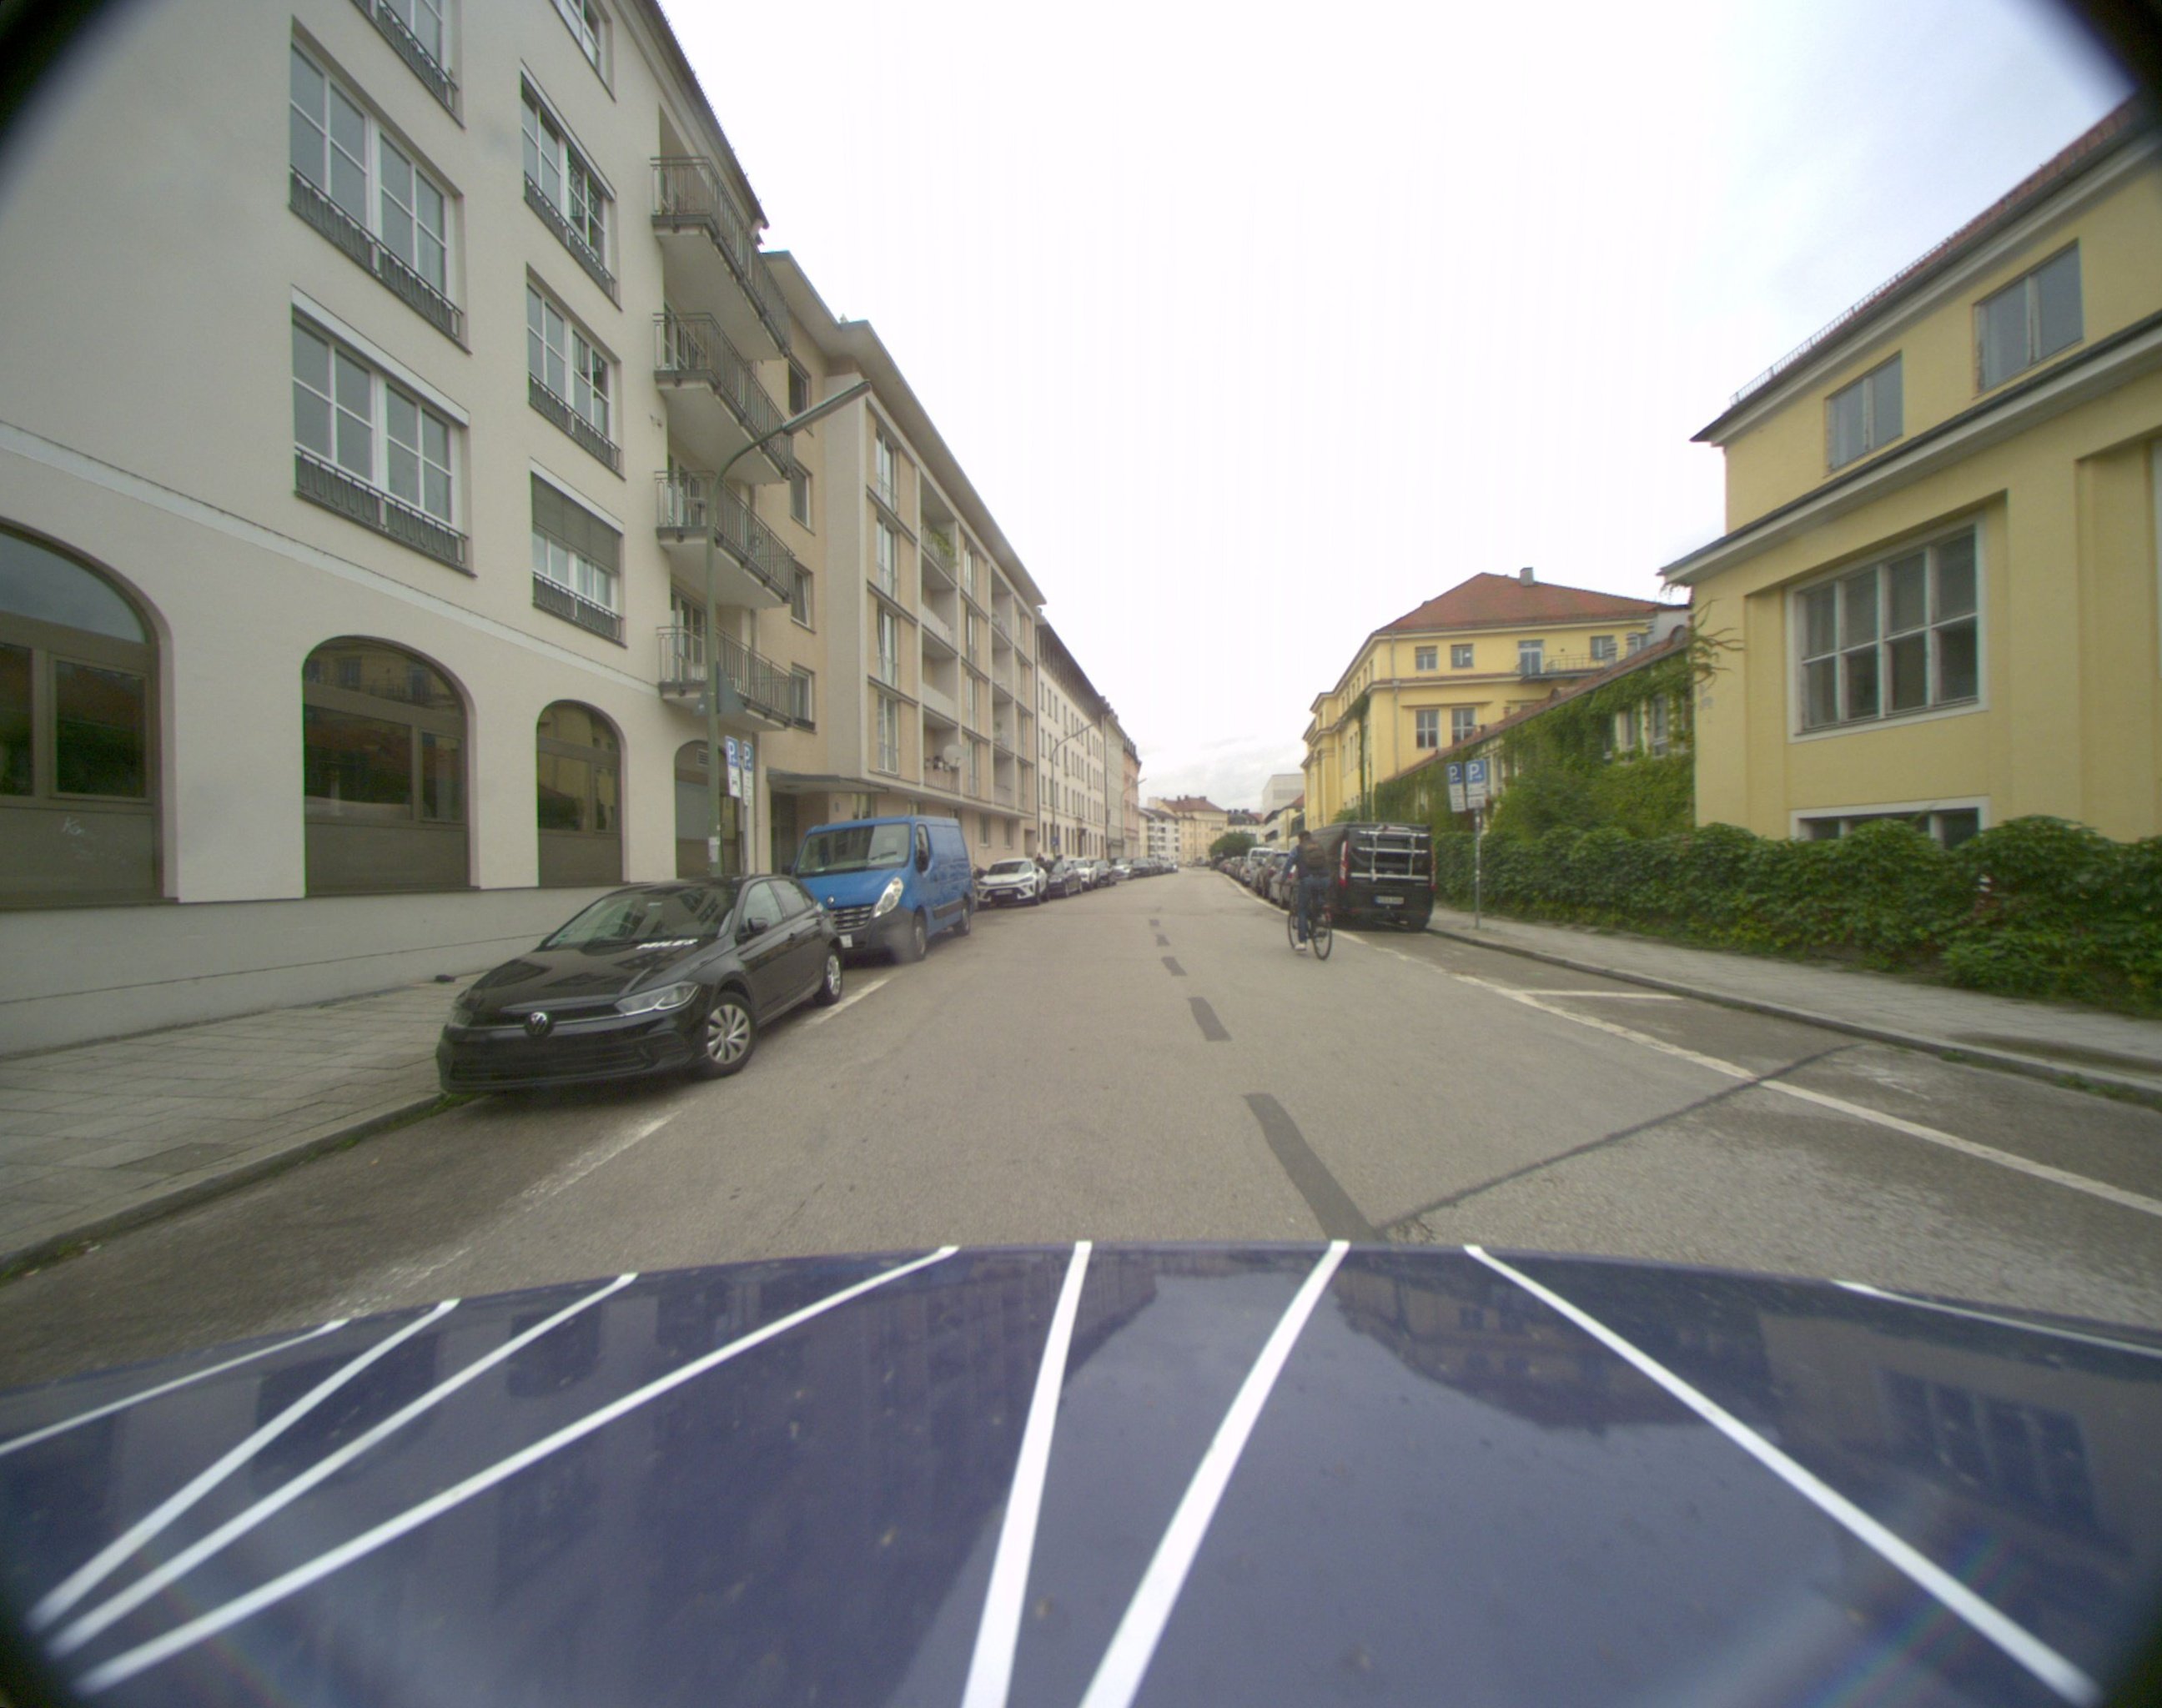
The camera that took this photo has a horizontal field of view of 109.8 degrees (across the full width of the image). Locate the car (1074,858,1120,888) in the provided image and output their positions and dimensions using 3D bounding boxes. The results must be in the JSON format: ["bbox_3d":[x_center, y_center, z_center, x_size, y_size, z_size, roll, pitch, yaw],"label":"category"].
[{"bbox_3d":[0.925,0.922,39.419,1.748,1.380,4.957,-3,-1,8],"label":"car"}]

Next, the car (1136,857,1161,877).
[{"bbox_3d":[5.829,1.065,65.340,1.648,1.580,4.638,-4,-1,10],"label":"car"}]

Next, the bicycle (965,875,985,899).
[{"bbox_3d":[-4.259,1.322,30.531,0.378,0.899,1.393,0,0,11],"label":"bicycle"}]

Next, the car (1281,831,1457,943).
[{"bbox_3d":[5.834,0.584,16.240,2.077,1.952,5.351,1,0,5],"label":"car"}]

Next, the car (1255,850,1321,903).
[{"bbox_3d":[7.139,0.726,26.594,1.700,1.633,4.493,2,0,9],"label":"car"}]

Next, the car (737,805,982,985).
[{"bbox_3d":[-3.290,0.522,12.726,2.084,2.220,5.245,-5,0,4],"label":"car"}]

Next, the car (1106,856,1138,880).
[{"bbox_3d":[2.719,0.906,50.075,1.653,1.486,2.883,-4,-1,10],"label":"car"}]

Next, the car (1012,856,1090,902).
[{"bbox_3d":[-1.041,0.920,29.628,1.883,1.513,5.168,-4,-1,10],"label":"car"}]

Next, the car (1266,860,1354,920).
[{"bbox_3d":[6.334,0.929,21.472,1.697,1.385,4.504,4,0,9],"label":"car"}]

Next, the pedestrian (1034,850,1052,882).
[{"bbox_3d":[-2.094,0.654,42.157,0.724,1.753,0.905,-1,3,11],"label":"pedestrian"}]

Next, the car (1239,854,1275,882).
[{"bbox_3d":[9.740,0.749,42.370,1.594,1.433,4.021,2,0,8],"label":"car"}]

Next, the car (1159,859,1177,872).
[{"bbox_3d":[10.319,1.339,90.002,1.690,1.393,4.368,-1,0,11],"label":"car"}]

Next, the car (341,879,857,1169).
[{"bbox_3d":[-3.379,1.042,6.501,1.681,1.381,4.304,-5,0,-2],"label":"car"}]

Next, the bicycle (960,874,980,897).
[{"bbox_3d":[-4.636,1.293,31.710,0.378,0.899,1.393,-1,0,11],"label":"bicycle"}]

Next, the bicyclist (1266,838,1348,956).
[{"bbox_3d":[3.213,0.584,10.877,0.865,1.598,0.947,-1,1,0],"label":"bicyclist"}]

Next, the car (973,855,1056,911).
[{"bbox_3d":[-2.017,0.859,24.382,1.789,1.524,4.650,-4,-1,4],"label":"car"}]

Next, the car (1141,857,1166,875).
[{"bbox_3d":[6.729,1.103,70.129,1.843,1.513,4.713,-2,-1,11],"label":"car"}]

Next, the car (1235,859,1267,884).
[{"bbox_3d":[10.585,1.053,47.562,1.606,1.422,4.254,2,0,9],"label":"car"}]

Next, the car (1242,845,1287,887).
[{"bbox_3d":[8.852,0.544,36.980,1.890,1.878,4.778,2,0,11],"label":"car"}]

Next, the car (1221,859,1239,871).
[{"bbox_3d":[19.383,1.451,98.996,1.961,1.473,4.532,2,0,7],"label":"car"}]

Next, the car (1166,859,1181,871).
[{"bbox_3d":[12.838,1.504,105.616,1.685,1.663,3.805,-2,-1,2],"label":"car"}]

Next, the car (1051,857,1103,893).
[{"bbox_3d":[-0.107,0.905,34.578,1.697,1.480,4.583,-3,-1,8],"label":"car"}]

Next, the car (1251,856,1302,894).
[{"bbox_3d":[8.015,0.817,31.495,1.656,1.406,4.775,2,0,10],"label":"car"}]

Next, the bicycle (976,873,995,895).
[{"bbox_3d":[-4.152,1.303,33.049,0.378,0.899,1.393,-1,0,11],"label":"bicycle"}]

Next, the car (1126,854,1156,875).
[{"bbox_3d":[4.802,0.798,60.180,1.806,1.475,5.324,-4,-1,9],"label":"car"}]

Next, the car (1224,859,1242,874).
[{"bbox_3d":[16.087,1.298,80.773,1.702,1.488,4.152,3,0,10],"label":"car"}]

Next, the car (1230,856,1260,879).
[{"bbox_3d":[12.323,1.004,57.348,1.792,1.577,4.821,2,0,8],"label":"car"}]

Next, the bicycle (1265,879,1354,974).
[{"bbox_3d":[3.232,0.985,10.938,0.672,1.152,2.003,-1,0,0],"label":"bicycle"}]

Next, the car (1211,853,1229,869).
[{"bbox_3d":[24.614,1.254,134.946,2.218,2.837,6.198,2,0,2],"label":"car"}]

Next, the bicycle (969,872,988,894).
[{"bbox_3d":[-4.513,1.262,33.490,0.378,0.899,1.393,-1,0,11],"label":"bicycle"}]

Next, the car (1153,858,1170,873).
[{"bbox_3d":[8.880,1.287,83.481,1.709,1.583,4.365,-2,-1,7],"label":"car"}]

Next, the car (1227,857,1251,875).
[{"bbox_3d":[14.669,1.099,70.783,1.749,1.624,4.859,1,0,7],"label":"car"}]
